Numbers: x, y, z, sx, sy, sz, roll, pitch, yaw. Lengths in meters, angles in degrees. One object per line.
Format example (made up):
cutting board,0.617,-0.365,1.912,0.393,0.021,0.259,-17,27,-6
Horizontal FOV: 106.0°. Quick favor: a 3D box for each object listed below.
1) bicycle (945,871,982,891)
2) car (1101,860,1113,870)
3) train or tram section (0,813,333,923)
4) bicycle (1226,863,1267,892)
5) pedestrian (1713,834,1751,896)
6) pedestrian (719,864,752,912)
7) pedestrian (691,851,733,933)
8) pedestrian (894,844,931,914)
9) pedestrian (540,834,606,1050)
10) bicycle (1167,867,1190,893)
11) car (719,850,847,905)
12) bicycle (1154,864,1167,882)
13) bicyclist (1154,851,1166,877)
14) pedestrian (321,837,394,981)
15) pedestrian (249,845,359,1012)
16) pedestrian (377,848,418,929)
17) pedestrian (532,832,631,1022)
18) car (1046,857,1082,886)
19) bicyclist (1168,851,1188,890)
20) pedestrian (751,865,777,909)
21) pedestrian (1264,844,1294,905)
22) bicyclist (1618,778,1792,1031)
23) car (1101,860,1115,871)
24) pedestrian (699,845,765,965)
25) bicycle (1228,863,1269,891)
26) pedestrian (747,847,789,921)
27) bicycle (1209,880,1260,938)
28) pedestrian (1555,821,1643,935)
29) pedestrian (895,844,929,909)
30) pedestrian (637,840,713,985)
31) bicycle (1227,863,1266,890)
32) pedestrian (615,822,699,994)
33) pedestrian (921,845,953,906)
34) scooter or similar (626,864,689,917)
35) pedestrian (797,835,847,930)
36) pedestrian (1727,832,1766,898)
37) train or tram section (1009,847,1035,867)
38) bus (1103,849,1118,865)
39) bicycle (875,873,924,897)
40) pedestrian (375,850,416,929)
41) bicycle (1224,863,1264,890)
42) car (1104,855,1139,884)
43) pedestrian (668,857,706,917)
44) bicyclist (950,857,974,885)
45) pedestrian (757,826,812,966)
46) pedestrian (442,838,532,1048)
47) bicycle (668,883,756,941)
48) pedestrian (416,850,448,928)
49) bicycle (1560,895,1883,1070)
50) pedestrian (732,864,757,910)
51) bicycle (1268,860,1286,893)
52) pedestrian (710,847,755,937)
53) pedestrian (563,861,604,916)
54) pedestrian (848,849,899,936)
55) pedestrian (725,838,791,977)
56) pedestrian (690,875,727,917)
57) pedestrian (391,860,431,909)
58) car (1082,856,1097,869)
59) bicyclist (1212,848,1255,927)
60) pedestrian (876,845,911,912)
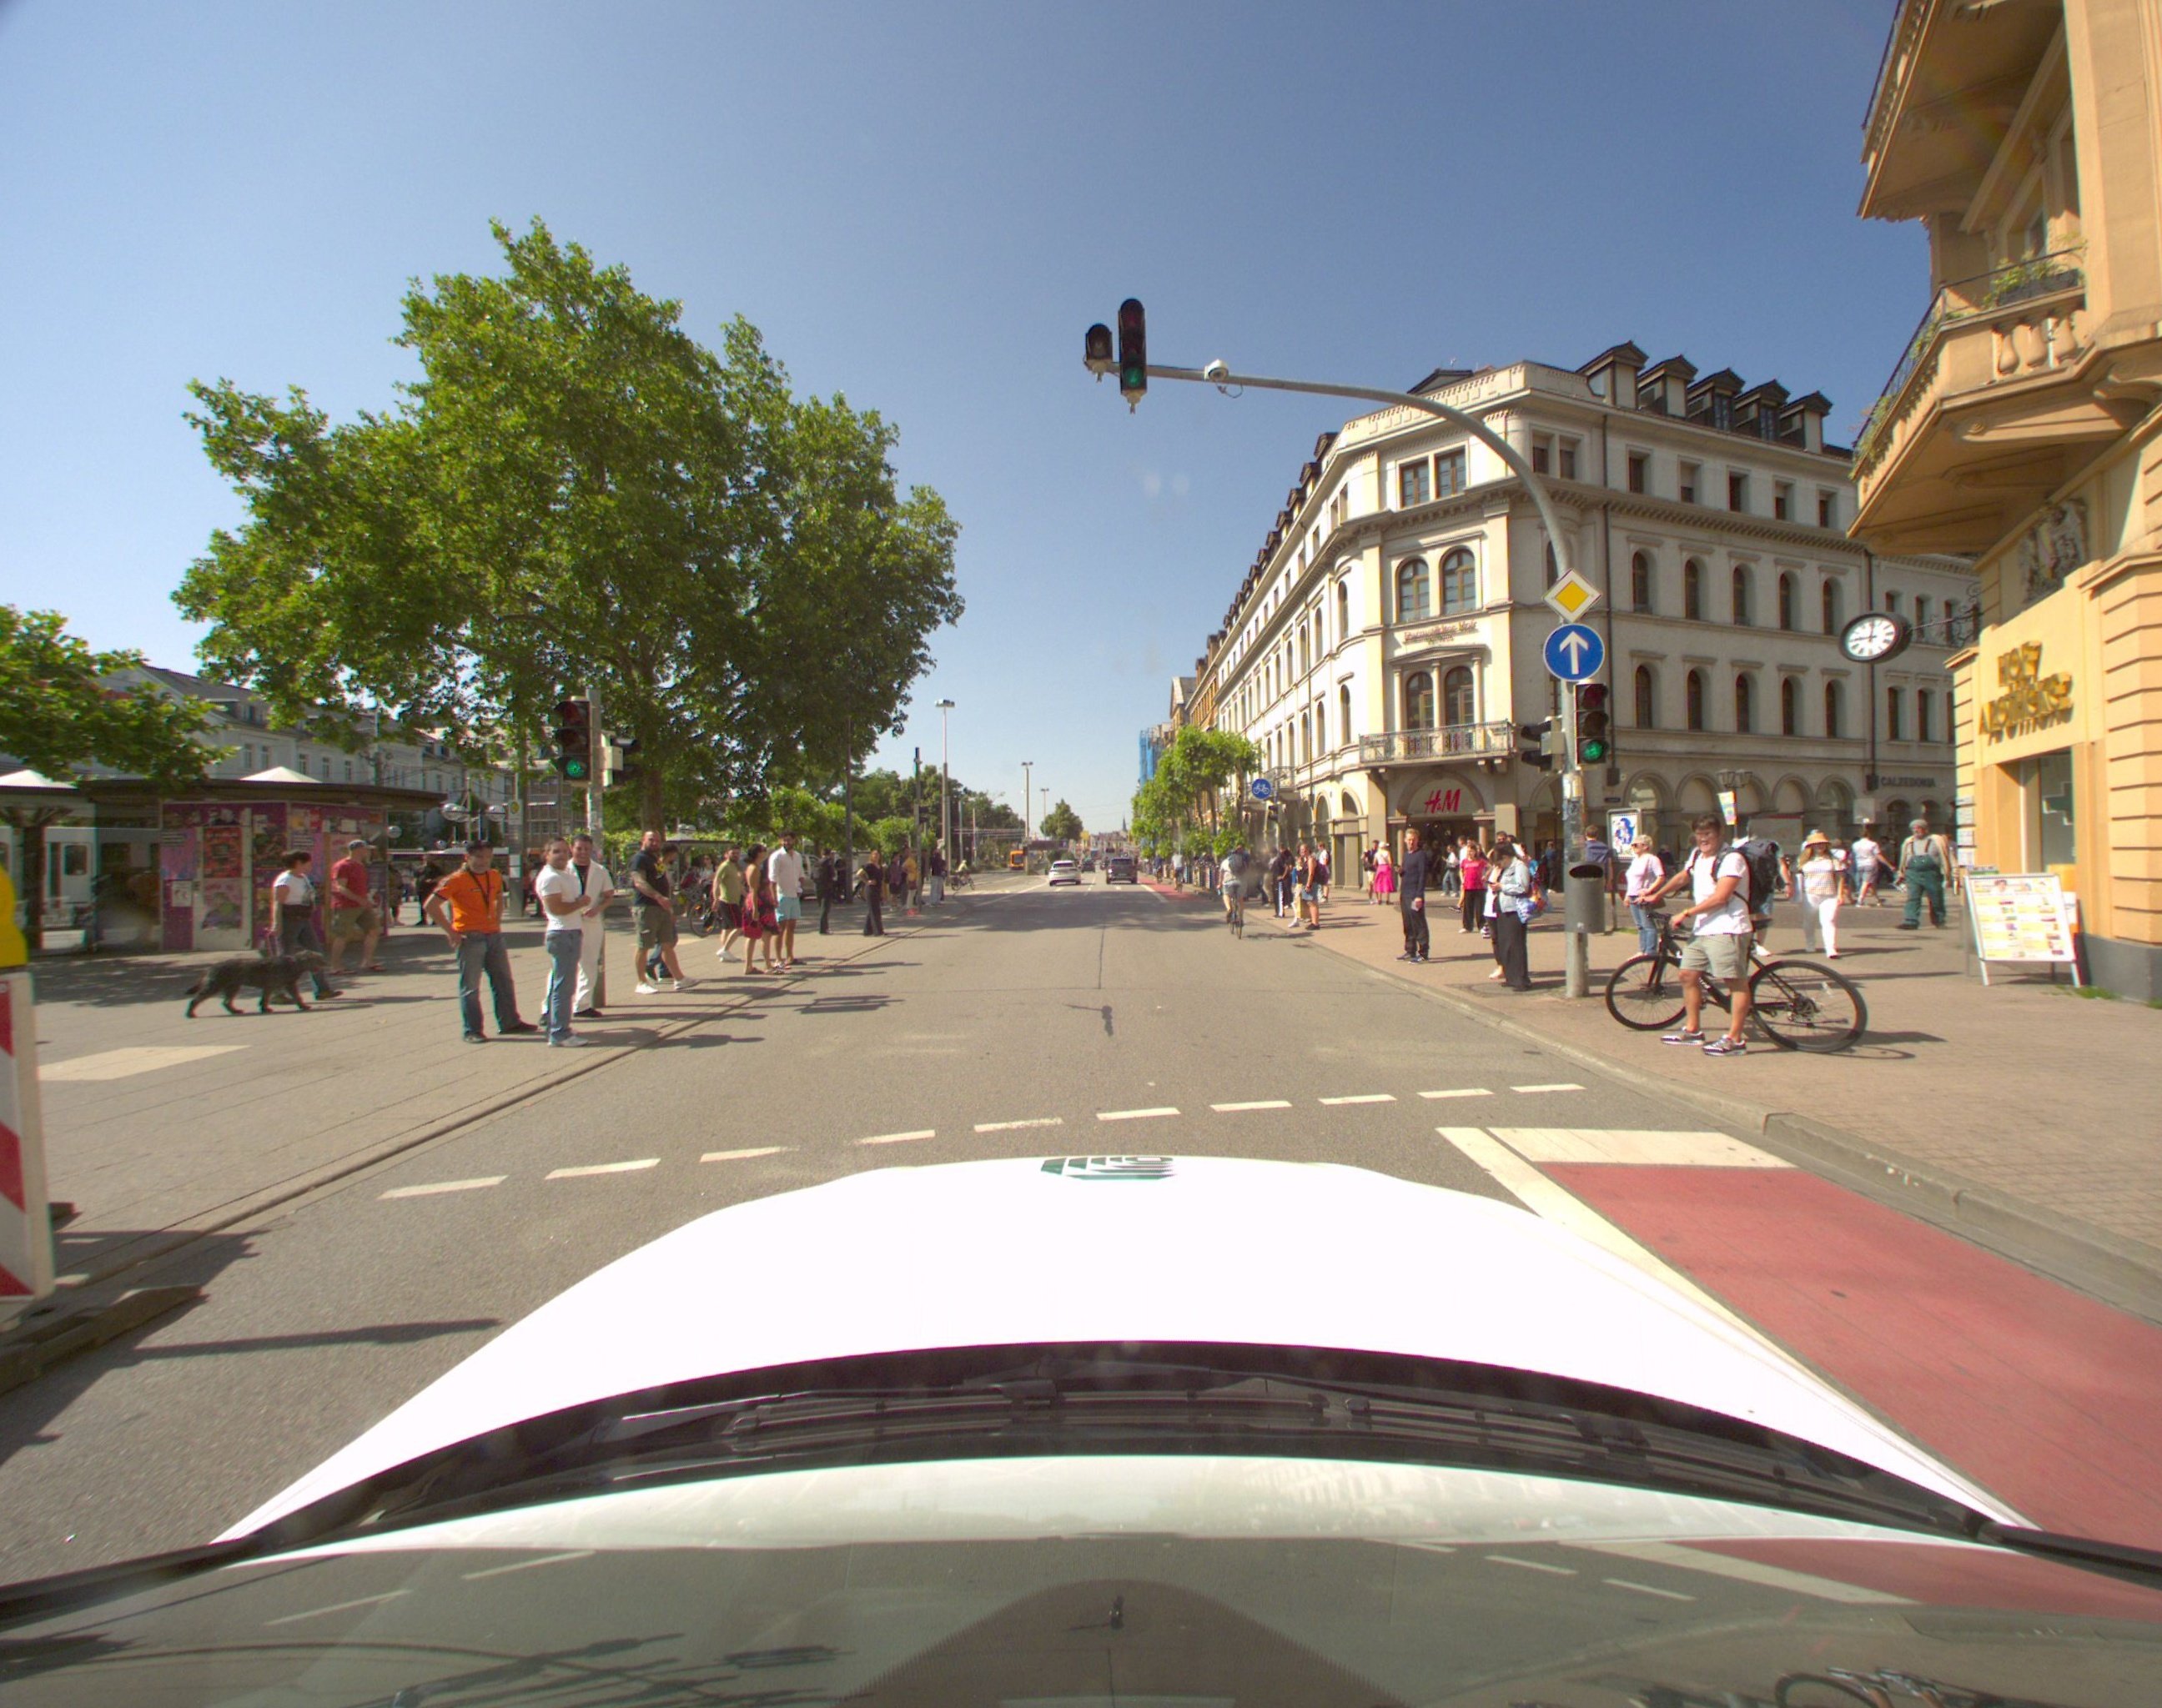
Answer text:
bicycle,-6.471,1.485,44.809,0.671,1.026,1.979,-1,0,45
car,4.000,1.664,126.039,1.839,1.413,4.001,-1,0,1
train or tram section,-36.816,0.481,28.331,2.587,3.676,15.646,-1,0,38
bicycle,6.065,0.861,29.849,1.415,0.980,0.445,-2,0,2
pedestrian,18.118,0.298,22.674,0.543,1.716,0.671,0,0,-29
pedestrian,-10.325,1.001,24.361,0.729,1.386,0.664,-1,-1,-6
pedestrian,-7.830,0.800,17.293,0.573,1.711,0.607,0,-1,4
pedestrian,-4.422,0.656,21.443,0.627,1.794,0.735,-1,-1,22
pedestrian,-4.314,0.714,6.940,0.431,1.740,0.600,1,-1,-29
bicycle,4.109,1.081,34.468,0.771,1.006,2.330,-1,0,2
car,-11.395,0.856,31.526,1.843,1.955,4.786,-1,-1,23
bicycle,4.670,1.126,47.856,0.645,0.998,2.031,-1,0,2
bicyclist,4.638,0.588,48.002,0.645,1.551,0.818,-1,0,1
pedestrian,-9.797,0.718,11.051,0.667,1.879,0.625,1,-1,-37
pedestrian,-8.410,0.775,8.832,0.573,1.739,0.607,0,-1,7
pedestrian,-15.935,0.797,18.985,0.503,1.859,0.569,-1,-1,22
pedestrian,-4.880,0.684,7.980,0.536,1.779,0.607,0,-1,7
car,-0.981,1.005,48.487,1.838,1.560,4.002,-2,0,2
bicyclist,4.096,0.691,34.450,0.771,1.635,0.851,-1,0,2
pedestrian,-10.133,1.050,26.021,0.663,1.386,0.658,0,-1,-32
pedestrian,5.569,0.569,22.886,0.581,1.673,0.605,-4,-1,0
bicyclist,4.794,0.353,6.280,0.577,1.797,0.848,-3,0,-33
car,3.764,1.621,114.803,1.839,1.413,4.001,-1,0,1
pedestrian,-5.187,0.737,12.147,0.581,1.722,0.790,-1,0,3
bicycle,6.231,0.857,30.307,1.415,0.980,0.445,-2,0,2
pedestrian,-7.793,0.732,20.269,0.627,1.810,0.735,-1,-1,22
bicycle,2.962,1.035,15.880,0.628,0.980,2.003,-1,0,1
pedestrian,8.594,0.402,13.568,0.655,1.790,1.233,-1,-2,1
pedestrian,-4.958,0.656,23.911,0.626,1.859,0.735,-1,-1,31
pedestrian,-5.073,0.711,10.204,0.573,1.747,0.654,0,-1,3
bicycle,6.418,0.857,31.688,1.415,0.980,0.401,-2,0,2
pedestrian,-4.845,0.599,9.341,0.573,1.891,0.654,0,-1,3
pedestrian,-4.418,0.647,25.060,0.626,1.834,0.735,-1,-1,31
scooter or similar,-11.767,0.995,22.648,1.264,1.421,1.045,-1,-1,32
pedestrian,-5.165,0.561,16.249,0.627,1.859,0.690,-1,-1,22
pedestrian,18.249,0.294,22.329,0.543,1.770,0.671,0,0,-29
train or tram section,-10.112,0.480,140.028,2.600,3.348,11.018,-1,0,5
bus,6.612,0.736,184.122,2.984,3.594,11.746,-1,-1,1
bicycle,-8.119,1.366,36.472,2.082,0.980,0.682,-2,-1,-10
pedestrian,-16.349,0.839,19.425,0.503,1.859,0.569,-1,-1,22
bicycle,6.249,0.861,31.256,1.415,0.980,0.445,-2,0,2
car,2.363,0.862,48.054,1.839,1.559,4.000,-2,0,0
pedestrian,-10.649,0.881,22.008,0.627,1.565,0.669,-1,-1,22
bicyclist,-6.531,0.944,44.788,1.057,1.503,0.732,-1,0,-40
pedestrian,-4.174,0.587,11.487,0.529,1.919,0.560,-1,-1,3
pedestrian,-5.128,0.728,7.062,0.542,1.718,0.600,1,-1,-30
bicycle,-7.368,1.139,16.372,0.486,1.029,1.941,-1,0,14
pedestrian,-15.751,0.832,19.765,0.549,1.859,0.500,0,-1,-32
bicycle,4.820,0.891,6.281,0.604,1.082,1.820,-3,0,-33
pedestrian,-10.376,1.017,25.111,0.660,1.386,0.661,-1,-1,-20
bicycle,7.047,0.800,29.239,0.396,1.114,1.433,-2,1,23
pedestrian,-6.979,0.747,16.339,0.573,1.779,0.607,0,-1,7
pedestrian,-13.675,0.931,22.390,0.627,1.478,0.735,-1,-1,22
pedestrian,-3.923,0.718,15.447,0.627,1.595,0.690,-1,-1,22
pedestrian,-4.234,0.687,10.715,0.573,1.758,0.639,-1,-1,3
pedestrian,-10.350,1.154,22.632,0.627,1.144,0.669,-1,-1,22
pedestrian,-16.053,0.727,19.515,0.503,1.159,0.569,-1,-1,22
car,1.051,1.032,100.977,1.839,1.560,4.001,-1,0,1
bicyclist,2.956,0.628,15.863,0.628,1.481,1.198,-1,0,1
pedestrian,-5.342,0.691,23.240,0.626,1.859,0.735,-1,-1,31
